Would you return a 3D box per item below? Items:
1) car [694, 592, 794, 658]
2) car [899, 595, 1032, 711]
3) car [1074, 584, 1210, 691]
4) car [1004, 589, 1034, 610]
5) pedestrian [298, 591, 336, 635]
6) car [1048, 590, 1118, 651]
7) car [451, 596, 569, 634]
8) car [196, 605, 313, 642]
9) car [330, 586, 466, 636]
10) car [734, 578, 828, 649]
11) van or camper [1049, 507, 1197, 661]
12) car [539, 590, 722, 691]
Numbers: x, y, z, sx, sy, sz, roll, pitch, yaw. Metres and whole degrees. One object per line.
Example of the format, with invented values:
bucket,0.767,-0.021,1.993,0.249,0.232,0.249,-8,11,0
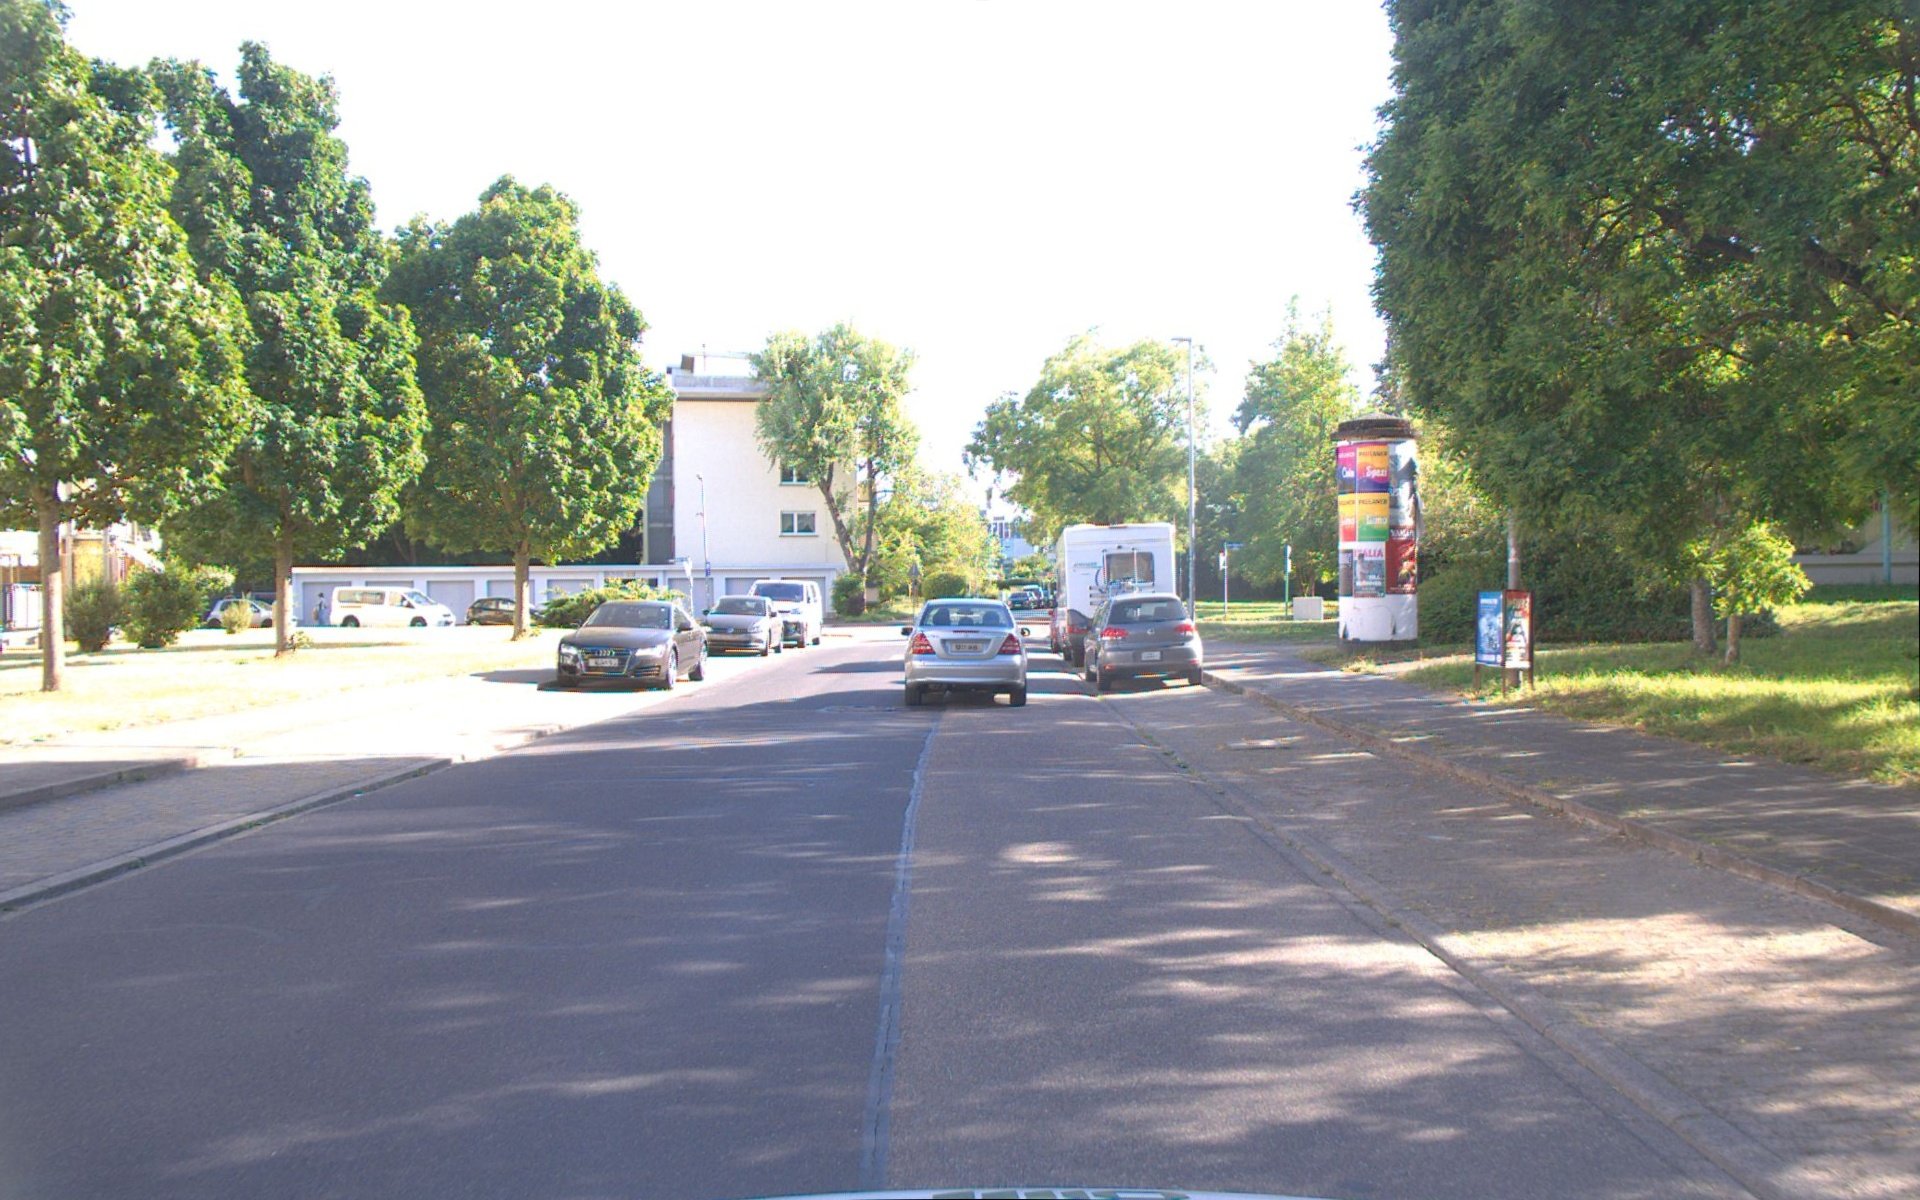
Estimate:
car,-5.376,0.603,41.595,1.795,1.544,4.222,1,0,2
car,0.125,0.693,23.125,1.697,1.459,3.439,-1,0,2
car,3.006,0.562,28.141,1.685,1.551,4.428,-4,1,0
car,4.750,-0.031,133.196,1.872,1.516,3.840,-3,0,9
pedestrian,-31.120,0.627,80.017,1.445,2.049,1.094,-1,0,-8
car,3.228,0.516,44.106,1.656,1.500,4.001,-1,0,2
car,-19.003,0.623,69.977,4.347,1.486,2.045,-1,0,8
car,-31.626,1.034,74.222,4.350,1.486,2.001,-1,0,2
car,-24.002,0.480,70.745,4.996,1.985,2.239,-1,0,9
car,-5.124,0.367,48.089,1.972,1.918,5.192,1,0,2
van or camper,3.323,-0.346,35.248,2.445,2.895,6.852,-2,1,0
car,-5.543,0.617,28.529,1.993,1.519,5.257,-1,0,1
